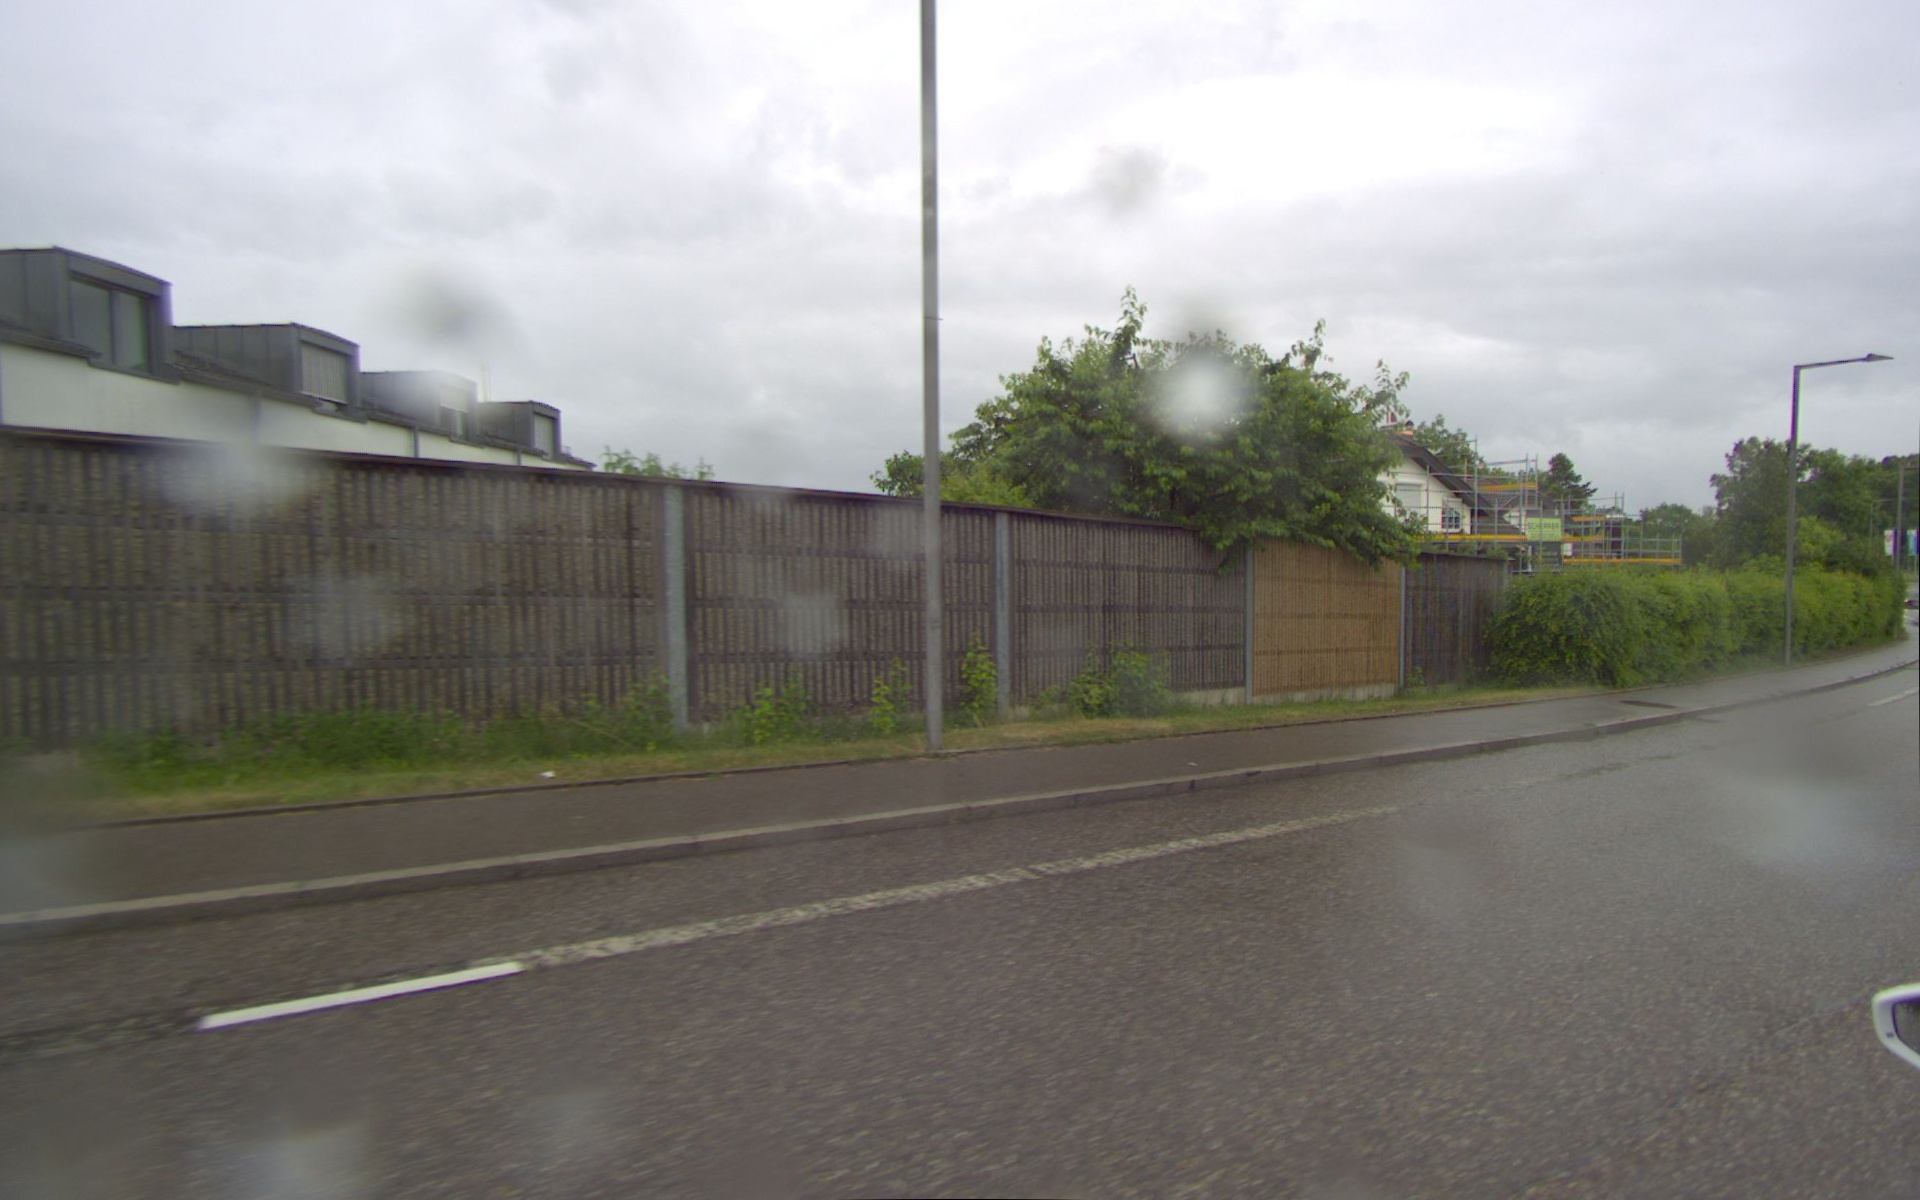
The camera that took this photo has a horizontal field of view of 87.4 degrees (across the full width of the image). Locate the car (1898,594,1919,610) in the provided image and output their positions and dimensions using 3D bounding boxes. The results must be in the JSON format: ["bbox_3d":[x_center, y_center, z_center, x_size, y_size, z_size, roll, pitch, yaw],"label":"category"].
[{"bbox_3d":[88.769,0.205,93.400,1.944,1.433,4.394,-1,0,40],"label":"car"}]
